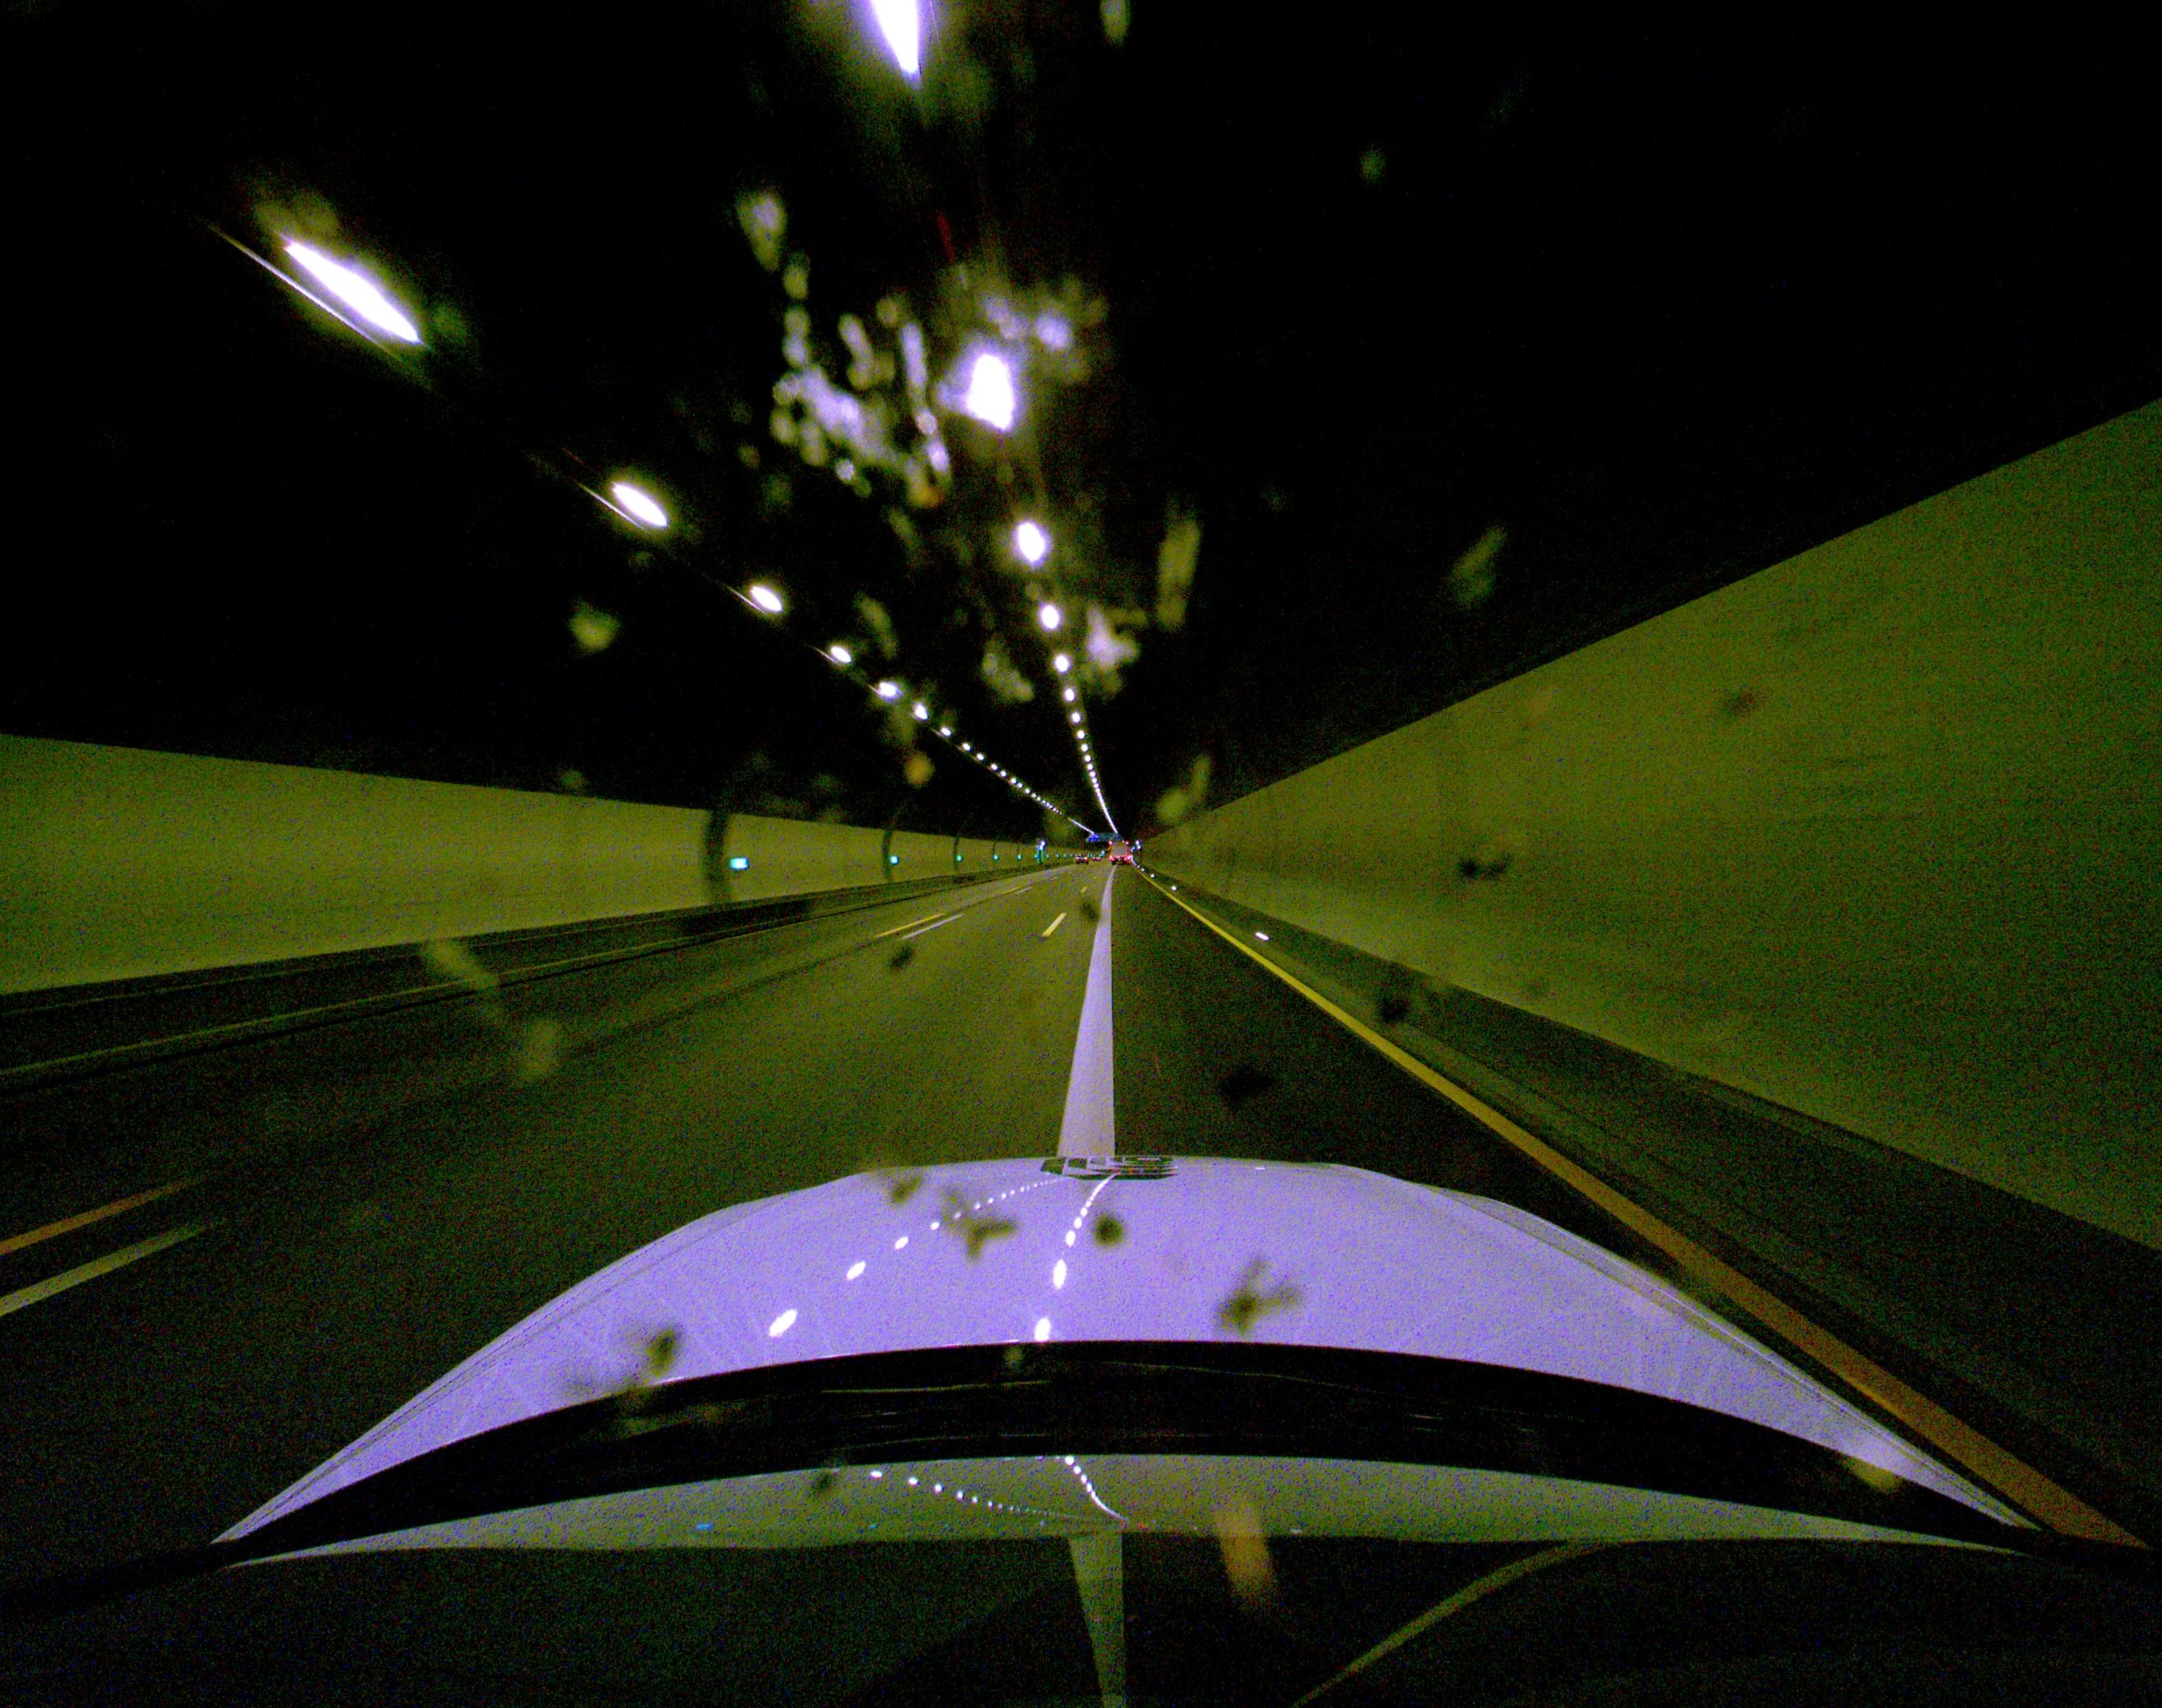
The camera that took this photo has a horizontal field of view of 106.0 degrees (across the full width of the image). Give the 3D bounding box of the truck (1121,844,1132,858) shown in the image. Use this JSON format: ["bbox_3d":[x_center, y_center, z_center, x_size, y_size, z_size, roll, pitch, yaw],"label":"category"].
[{"bbox_3d":[13.898,-0.774,249.226,2.912,4.048,14.035,-2,0,2],"label":"truck"}]

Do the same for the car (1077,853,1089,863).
[{"bbox_3d":[0.265,0.586,129.131,1.806,1.618,4.001,0,0,1],"label":"car"}]

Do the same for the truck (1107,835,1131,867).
[{"bbox_3d":[6.007,-0.479,131.579,3.267,4.650,17.290,-2,0,1],"label":"truck"}]

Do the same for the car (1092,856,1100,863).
[{"bbox_3d":[3.330,1.174,184.123,1.807,1.520,4.000,0,1,0],"label":"car"}]
